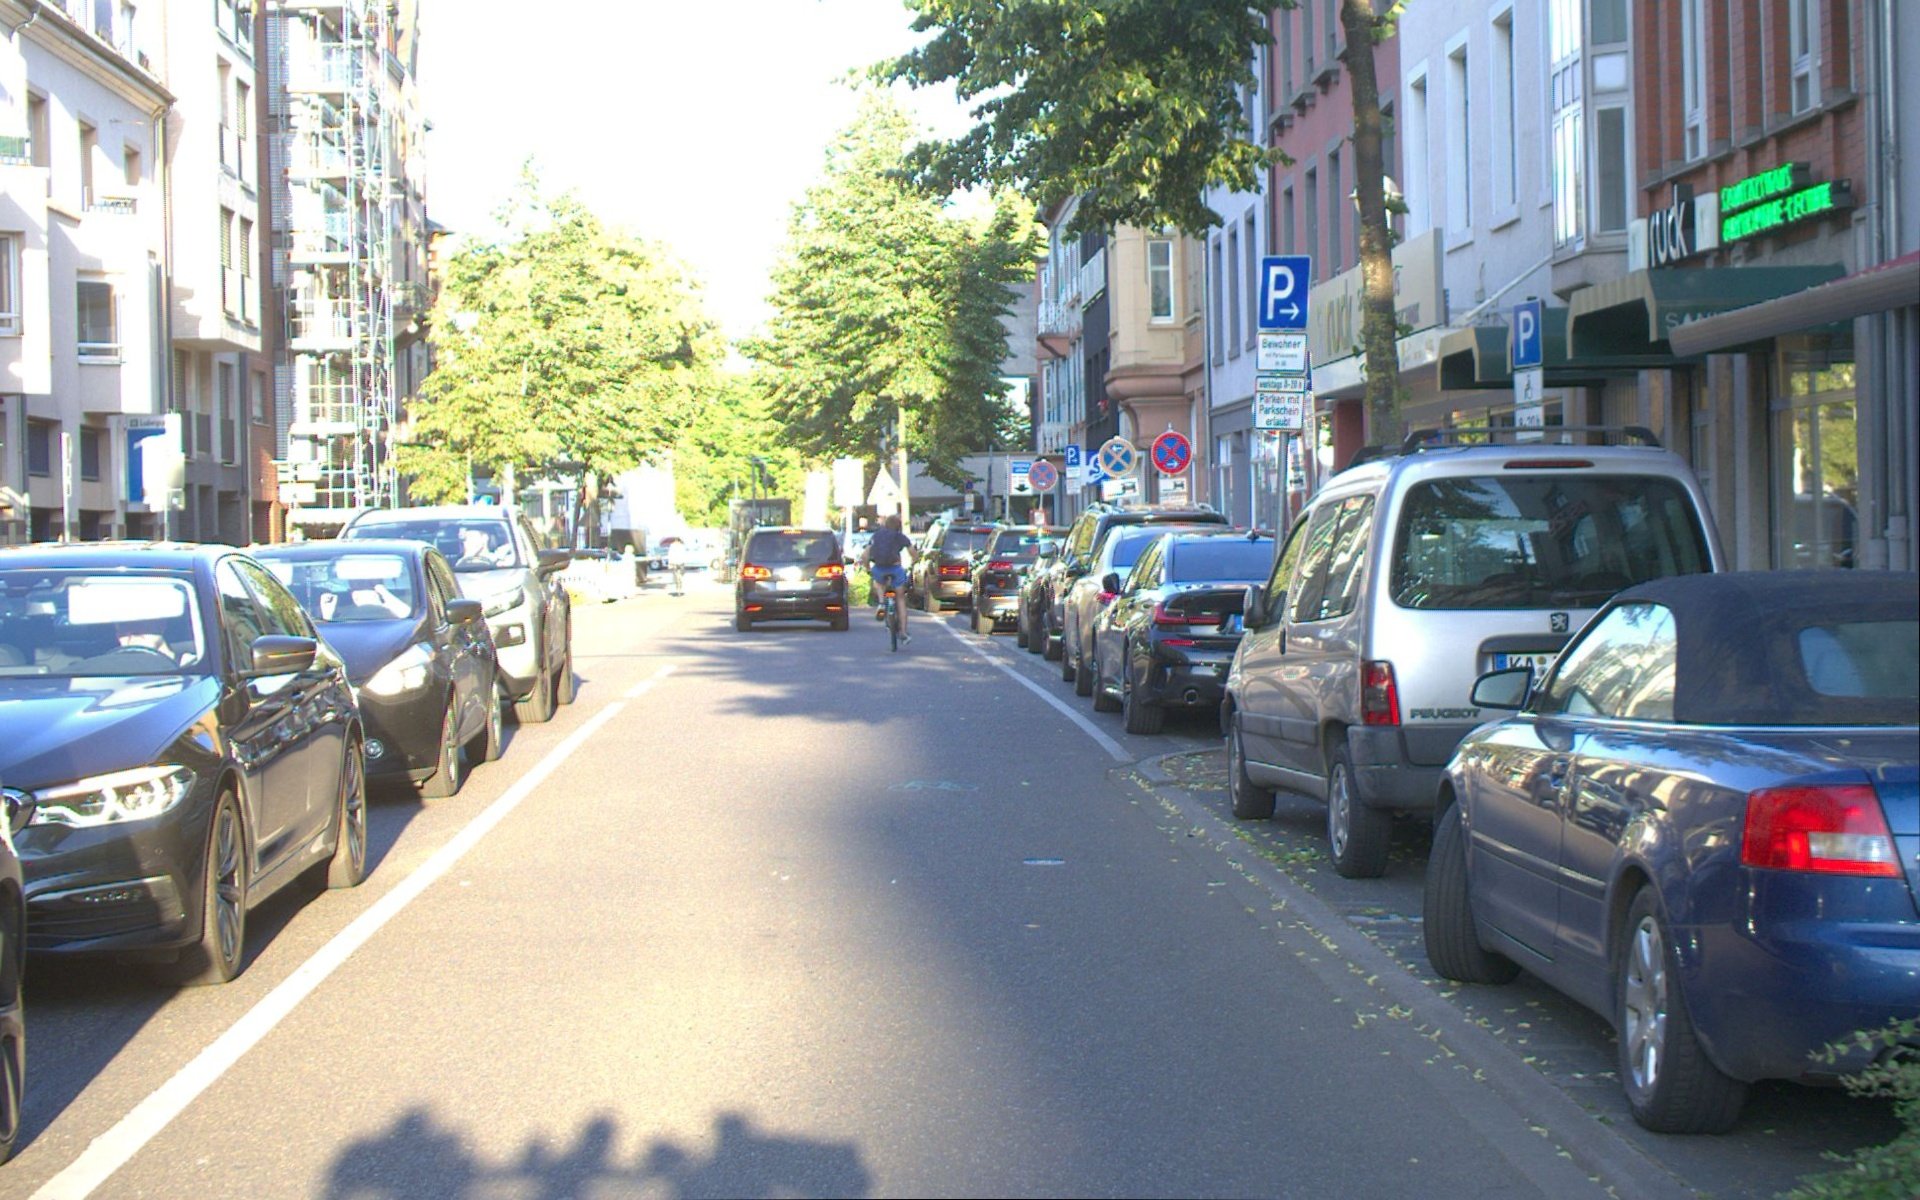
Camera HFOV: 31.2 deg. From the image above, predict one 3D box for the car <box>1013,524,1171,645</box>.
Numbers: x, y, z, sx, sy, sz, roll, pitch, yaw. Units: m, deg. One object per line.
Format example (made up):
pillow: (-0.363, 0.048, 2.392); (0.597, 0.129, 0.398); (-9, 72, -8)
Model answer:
car: (1.650, -0.205, 44.324); (1.762, 1.478, 4.307); (0, 0, -1)

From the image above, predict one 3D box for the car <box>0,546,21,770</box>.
car: (-7.406, 0.467, 21.285); (1.993, 1.506, 4.510); (-4, 1, -2)

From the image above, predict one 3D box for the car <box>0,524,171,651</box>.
car: (-10.626, -0.156, 40.932); (1.711, 1.449, 3.725); (0, 0, -2)

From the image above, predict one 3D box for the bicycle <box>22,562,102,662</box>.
bicycle: (-12.586, 0.154, 48.219); (0.610, 1.370, 2.359); (0, 0, -3)

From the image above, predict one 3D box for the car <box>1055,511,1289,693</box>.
car: (1.845, -0.006, 31.294); (1.812, 1.522, 4.993); (0, 0, 0)

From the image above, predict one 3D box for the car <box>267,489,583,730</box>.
car: (-4.062, 0.051, 26.822); (1.940, 1.639, 4.739); (-2, 0, -3)

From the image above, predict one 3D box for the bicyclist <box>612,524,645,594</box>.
bicyclist: (-8.807, -1.097, 91.444); (0.780, 1.823, 1.007); (-2, 0, -4)

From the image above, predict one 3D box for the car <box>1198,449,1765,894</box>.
car: (2.226, 0.233, 15.739); (1.654, 1.772, 4.012); (0, 1, -5)

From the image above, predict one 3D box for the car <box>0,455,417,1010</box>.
car: (-3.297, 0.402, 12.590); (1.946, 1.639, 4.616); (-2, 0, -2)

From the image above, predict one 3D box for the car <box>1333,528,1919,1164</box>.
car: (2.357, 0.494, 9.550); (1.936, 1.371, 4.183); (0, 1, -4)

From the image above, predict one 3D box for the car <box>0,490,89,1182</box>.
car: (-3.049, 0.590, 6.410); (1.958, 1.542, 4.510); (-1, 2, -4)

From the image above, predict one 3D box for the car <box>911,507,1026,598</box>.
car: (0.132, -0.896, 66.084); (1.824, 1.689, 4.369); (0, 0, -5)

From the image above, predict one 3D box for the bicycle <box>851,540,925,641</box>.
bicycle: (-0.912, -0.125, 43.112); (0.780, 1.200, 2.021); (-2, 1, -4)

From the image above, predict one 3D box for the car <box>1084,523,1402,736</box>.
car: (1.979, 0.150, 25.309); (1.752, 1.415, 4.510); (0, 1, -3)

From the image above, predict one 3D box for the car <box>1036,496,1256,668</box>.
car: (1.962, -0.203, 37.685); (1.883, 1.748, 5.059); (0, 0, -3)

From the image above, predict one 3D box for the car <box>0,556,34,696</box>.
car: (-10.389, 0.265, 33.821); (1.660, 1.398, 3.884); (0, 0, -3)

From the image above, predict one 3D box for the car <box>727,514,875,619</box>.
car: (-2.474, -0.528, 54.489); (1.993, 1.596, 4.509); (0, 0, 2)

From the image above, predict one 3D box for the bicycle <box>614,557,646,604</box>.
bicycle: (-8.782, -0.513, 91.491); (0.780, 1.200, 2.021); (-2, 1, -4)

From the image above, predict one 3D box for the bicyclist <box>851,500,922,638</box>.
bicyclist: (-0.924, -0.388, 43.040); (0.780, 1.690, 1.007); (-2, 0, -4)

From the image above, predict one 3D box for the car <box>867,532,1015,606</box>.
car: (-0.415, -0.655, 71.930); (2.968, 1.531, 1.434); (0, 0, -6)

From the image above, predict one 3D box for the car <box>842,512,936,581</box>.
car: (-2.084, -1.522, 99.216); (2.264, 1.760, 4.510); (5, 0, -5)

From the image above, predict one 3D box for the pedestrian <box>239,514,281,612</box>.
pedestrian: (-12.538, -0.659, 61.614); (0.716, 1.734, 0.739); (0, 0, -10)

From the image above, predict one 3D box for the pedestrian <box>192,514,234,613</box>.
pedestrian: (-13.362, -0.655, 61.500); (0.716, 1.761, 0.694); (0, 0, -10)

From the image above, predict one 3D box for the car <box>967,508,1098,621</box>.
car: (1.076, -0.539, 52.813); (1.812, 1.662, 4.206); (0, 0, -1)

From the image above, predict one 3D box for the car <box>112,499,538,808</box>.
car: (-3.571, 0.260, 20.090); (1.723, 1.544, 4.465); (-2, 0, -2)
